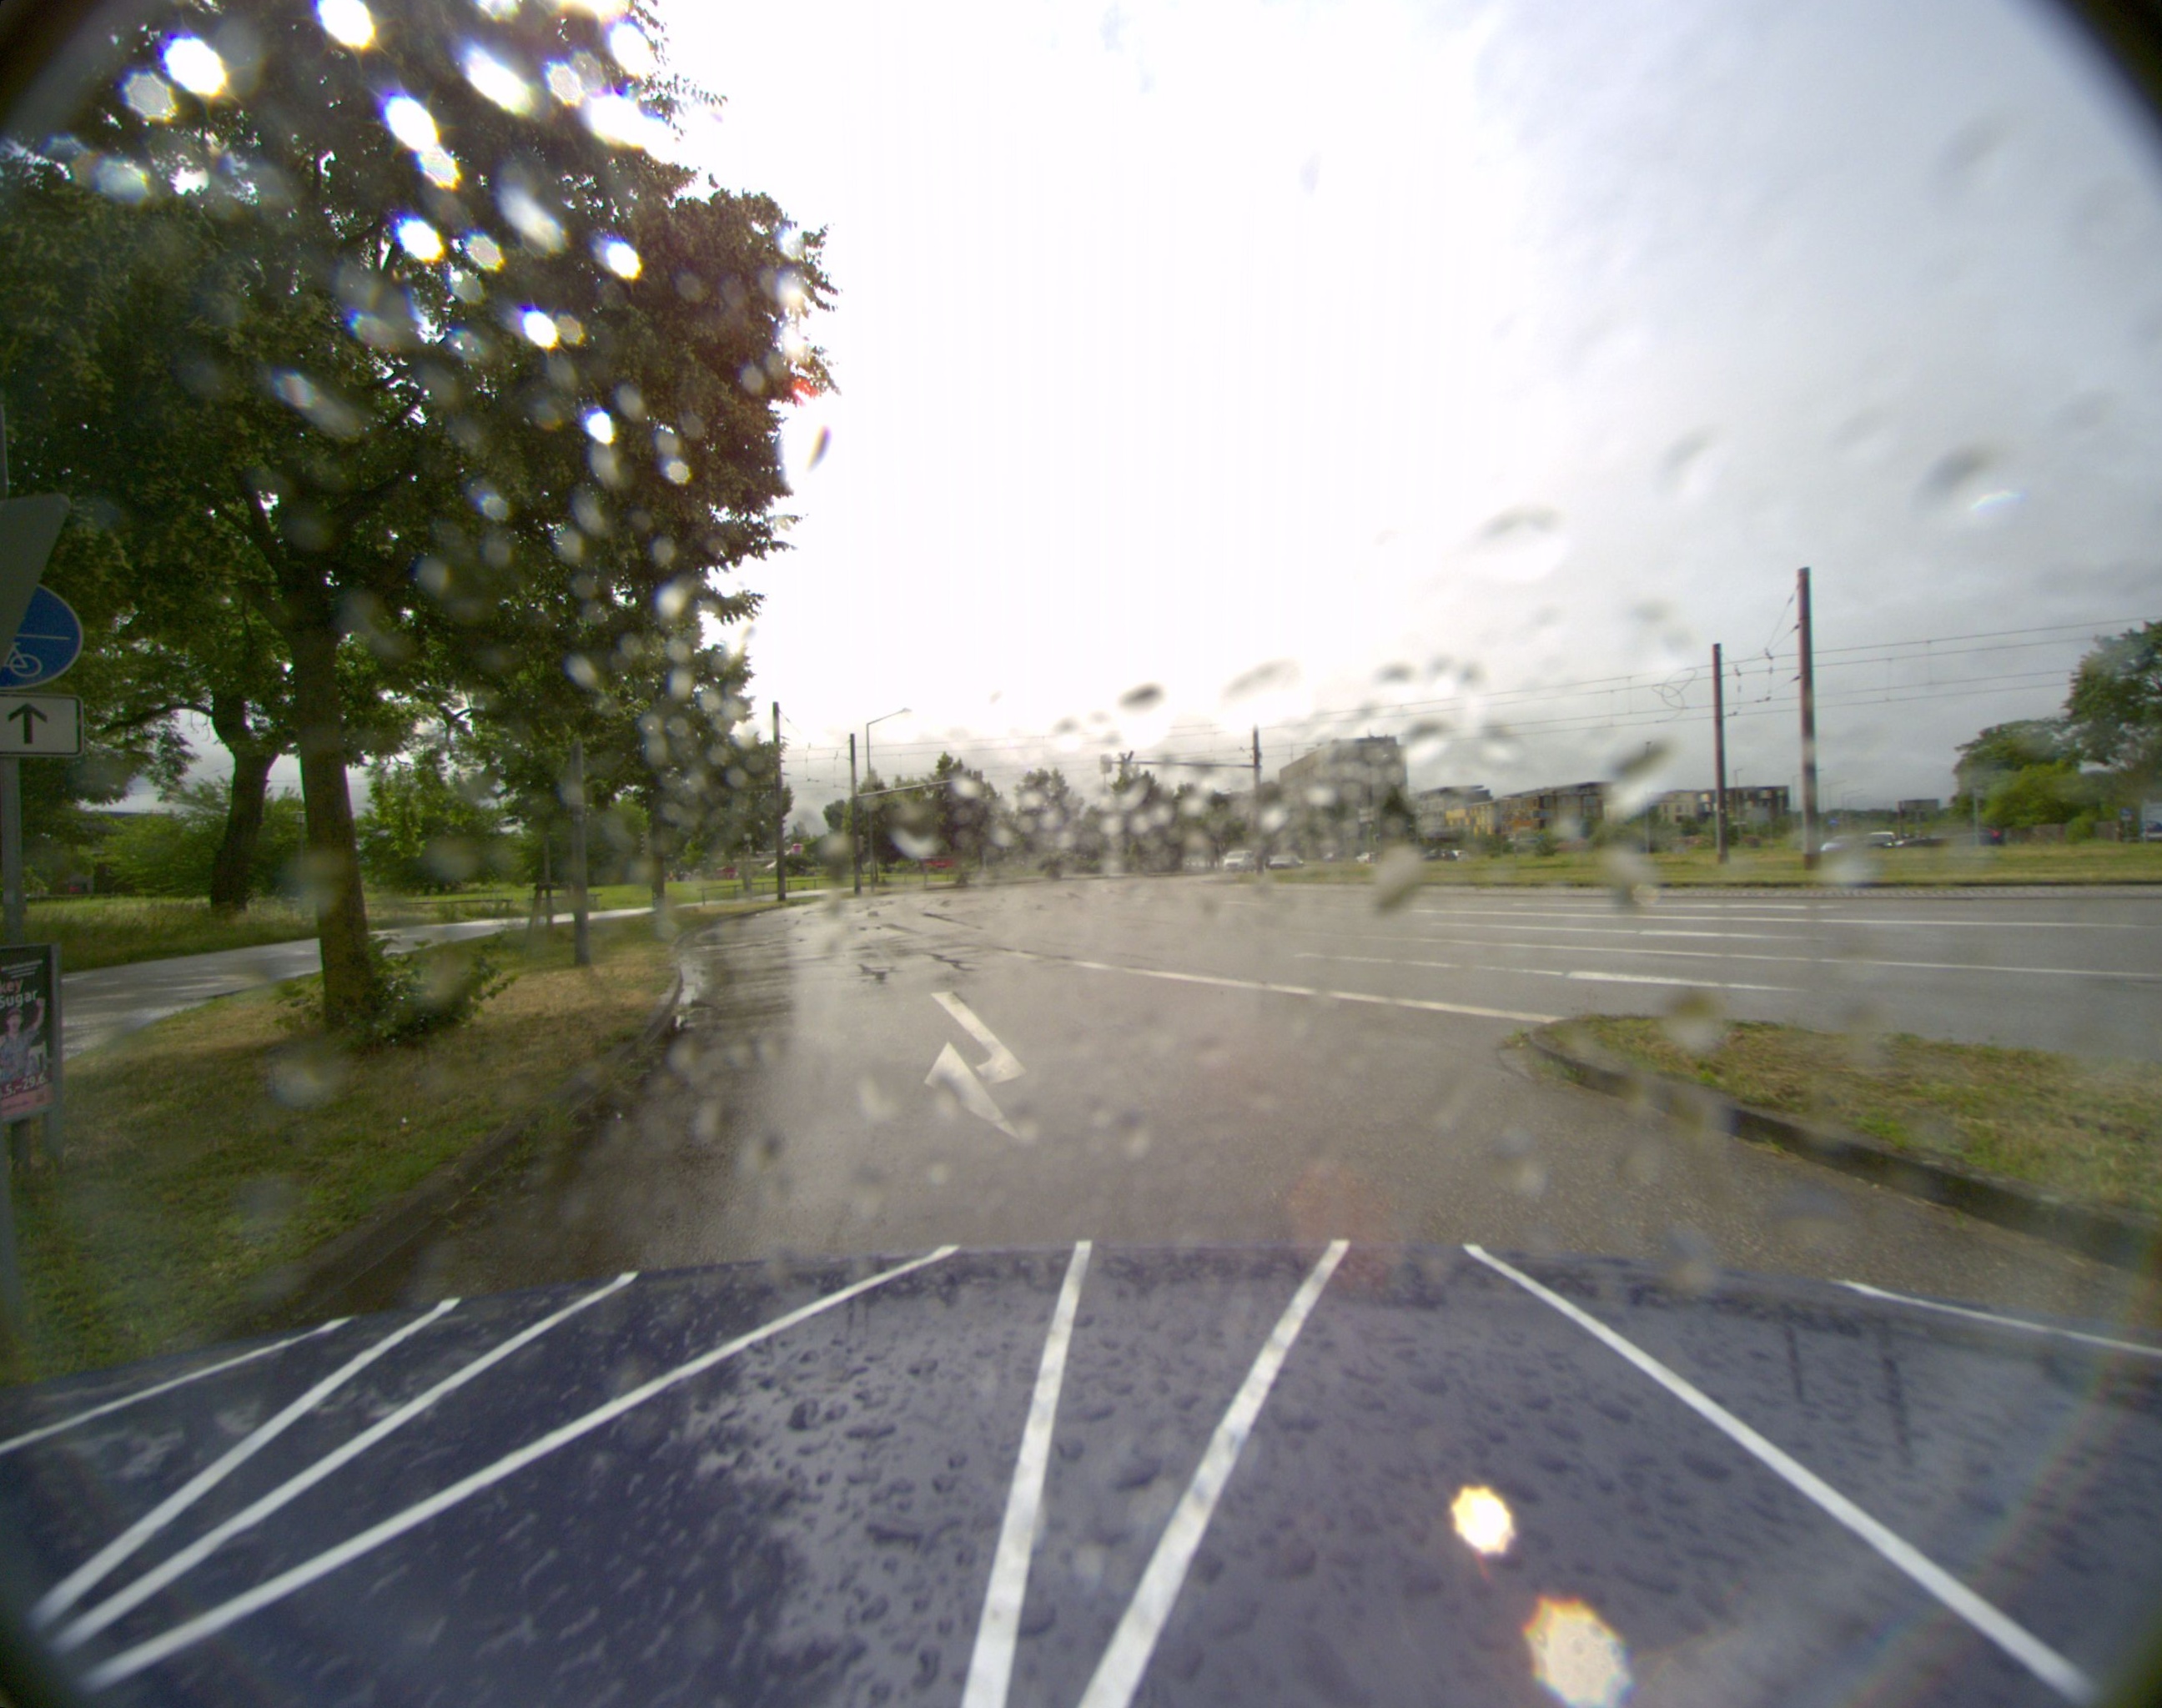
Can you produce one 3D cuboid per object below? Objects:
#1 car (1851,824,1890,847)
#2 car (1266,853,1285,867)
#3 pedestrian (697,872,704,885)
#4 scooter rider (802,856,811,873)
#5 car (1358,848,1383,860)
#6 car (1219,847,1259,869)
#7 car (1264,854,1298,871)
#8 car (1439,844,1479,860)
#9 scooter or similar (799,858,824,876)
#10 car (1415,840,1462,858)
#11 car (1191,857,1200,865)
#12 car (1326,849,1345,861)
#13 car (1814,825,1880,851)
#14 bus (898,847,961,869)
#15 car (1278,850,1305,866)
[{"bbox_3d":[66.070,-1.522,63.600,4.007,1.805,1.871,-2,0,-39],"label":"car"},{"bbox_3d":[22.958,0.676,89.658,1.864,1.527,4.493,-1,1,17],"label":"car"},{"bbox_3d":[-49.649,3.170,99.155,0.599,1.721,0.605,-3,-1,-8],"label":"pedestrian"},{"bbox_3d":[-34.298,1.293,94.907,0.768,2.001,0.707,-4,-1,37],"label":"scooter rider"},{"bbox_3d":[36.560,0.012,95.997,1.725,1.499,3.905,-1,0,3],"label":"car"},{"bbox_3d":[14.567,0.374,69.956,2.073,1.975,4.810,-2,-1,31],"label":"car"},{"bbox_3d":[17.198,0.704,65.576,1.866,1.372,4.553,-2,-1,2],"label":"car"},{"bbox_3d":[40.880,-0.281,82.206,1.866,1.662,4.468,-1,1,-4],"label":"car"},{"bbox_3d":[-33.521,1.580,94.448,3.400,2.001,1.242,-5,-2,40],"label":"scooter or similar"},{"bbox_3d":[35.560,-0.455,75.627,1.869,1.662,3.813,-3,0,-32],"label":"car"},{"bbox_3d":[26.460,1.663,175.600,1.873,1.653,4.488,2,-2,9],"label":"car"},{"bbox_3d":[37.955,0.190,113.466,1.873,1.653,4.486,-2,-1,8],"label":"car"},{"bbox_3d":[57.617,-1.193,57.155,4.003,1.805,1.873,-2,0,-18],"label":"car"},{"bbox_3d":[-28.053,0.783,141.018,10.983,3.439,1.999,-3,-1,-6],"label":"bus"},{"bbox_3d":[21.441,0.426,77.470,1.865,1.527,4.490,-1,1,6],"label":"car"}]
